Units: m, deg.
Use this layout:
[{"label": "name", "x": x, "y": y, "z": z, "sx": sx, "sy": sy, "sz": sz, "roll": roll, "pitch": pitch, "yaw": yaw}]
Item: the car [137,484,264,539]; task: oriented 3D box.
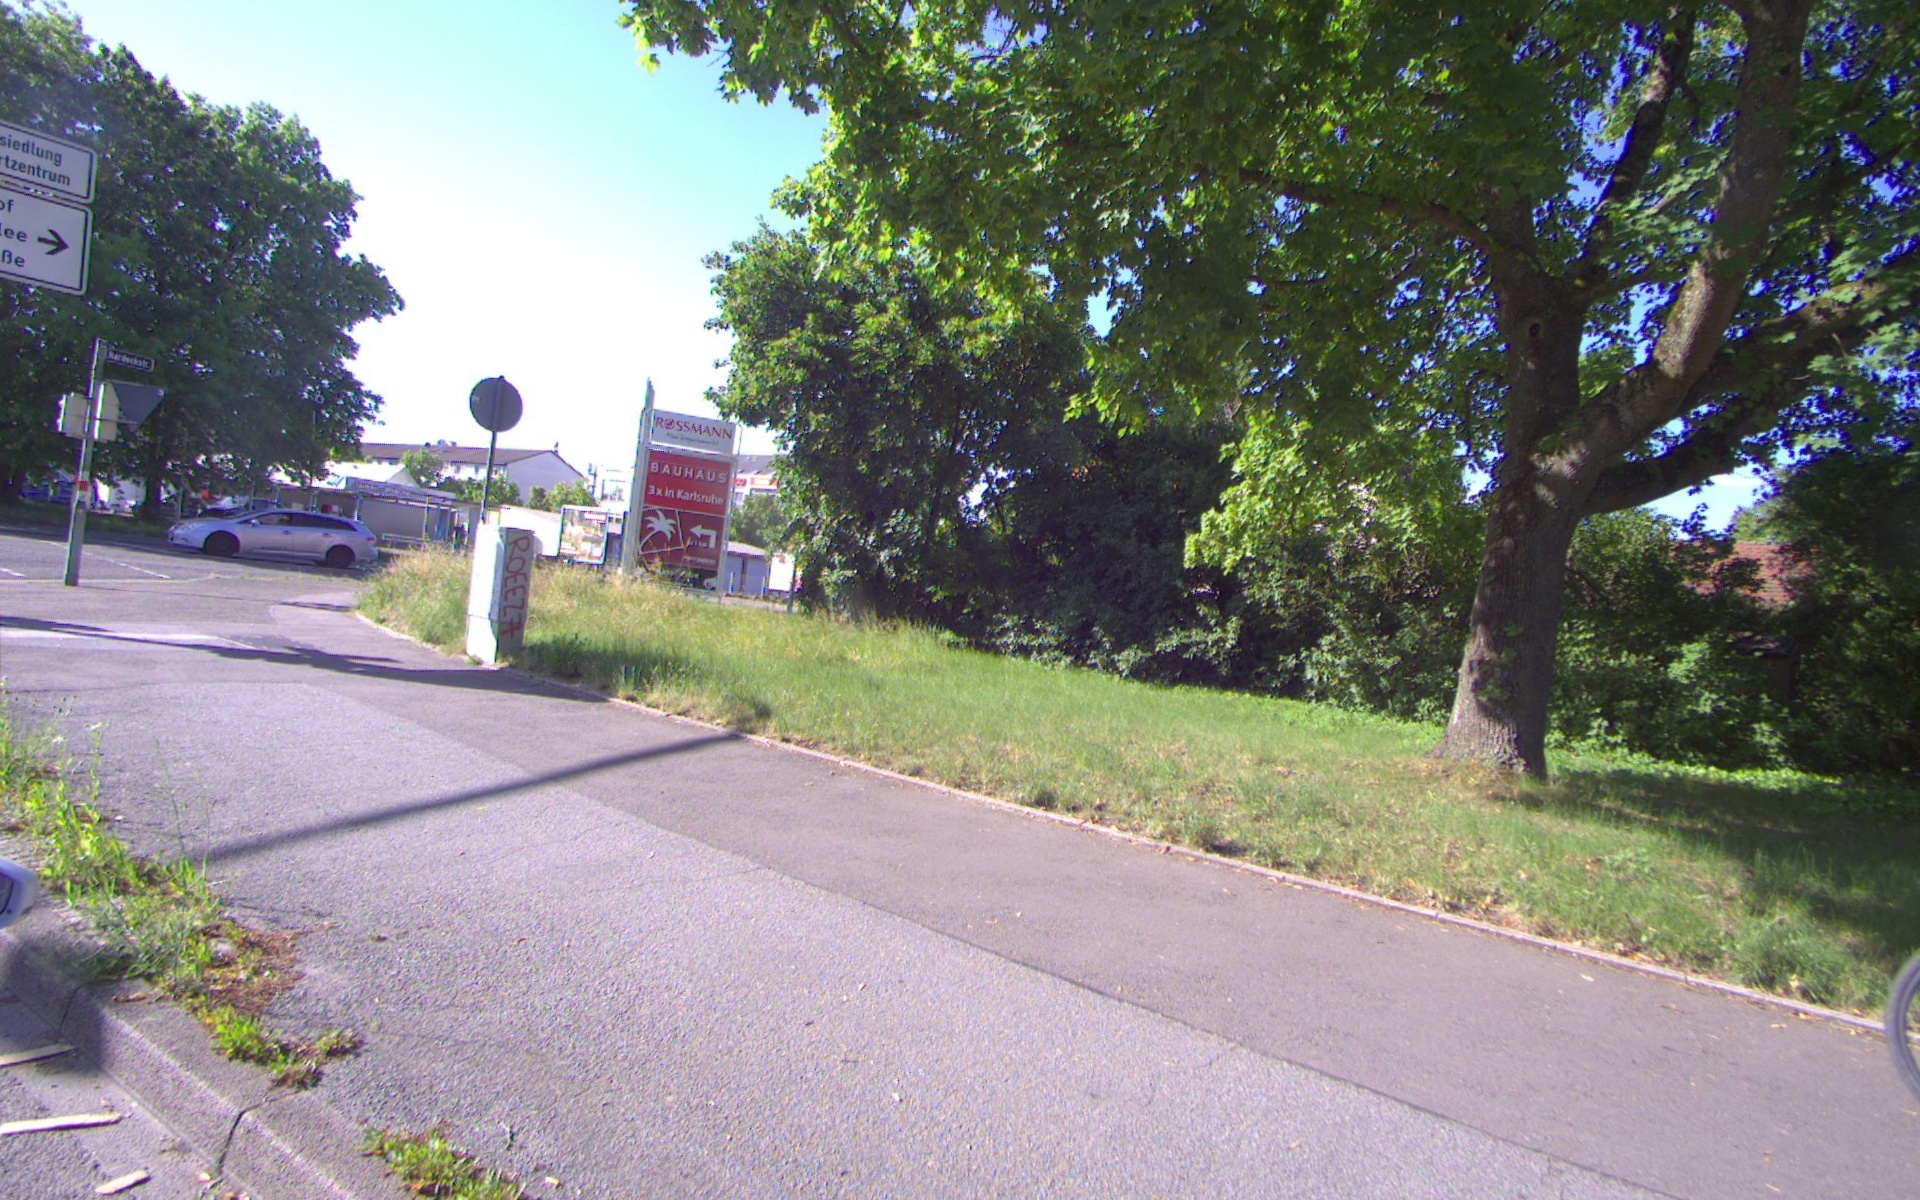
[{"label": "car", "x": -32.343, "y": -3.727, "z": 42.986, "sx": 1.962, "sy": 1.772, "sz": 4.000, "roll": 7, "pitch": 1, "yaw": 9}]

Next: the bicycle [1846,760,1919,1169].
[{"label": "bicycle", "x": 3.579, "y": 1.152, "z": 2.505, "sx": 1.960, "sy": 1.112, "sz": 0.577, "roll": 7, "pitch": 2, "yaw": 42}]

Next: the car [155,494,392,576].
[{"label": "car", "x": -18.647, "y": -1.734, "z": 27.524, "sx": 1.973, "sy": 1.504, "sz": 4.994, "roll": 7, "pitch": 0, "yaw": 43}]

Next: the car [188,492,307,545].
[{"label": "car", "x": -30.295, "y": -3.429, "z": 42.915, "sx": 1.712, "sy": 1.701, "sz": 4.001, "roll": 7, "pitch": 0, "yaw": 9}]

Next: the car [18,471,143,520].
[{"label": "car", "x": -39.178, "y": -4.629, "z": 44.930, "sx": 1.712, "sy": 1.537, "sz": 3.902, "roll": 7, "pitch": 0, "yaw": 9}]

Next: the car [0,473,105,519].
[{"label": "car", "x": -41.988, "y": -4.771, "z": 46.155, "sx": 1.712, "sy": 1.537, "sz": 3.902, "roll": 7, "pitch": 0, "yaw": 9}]
